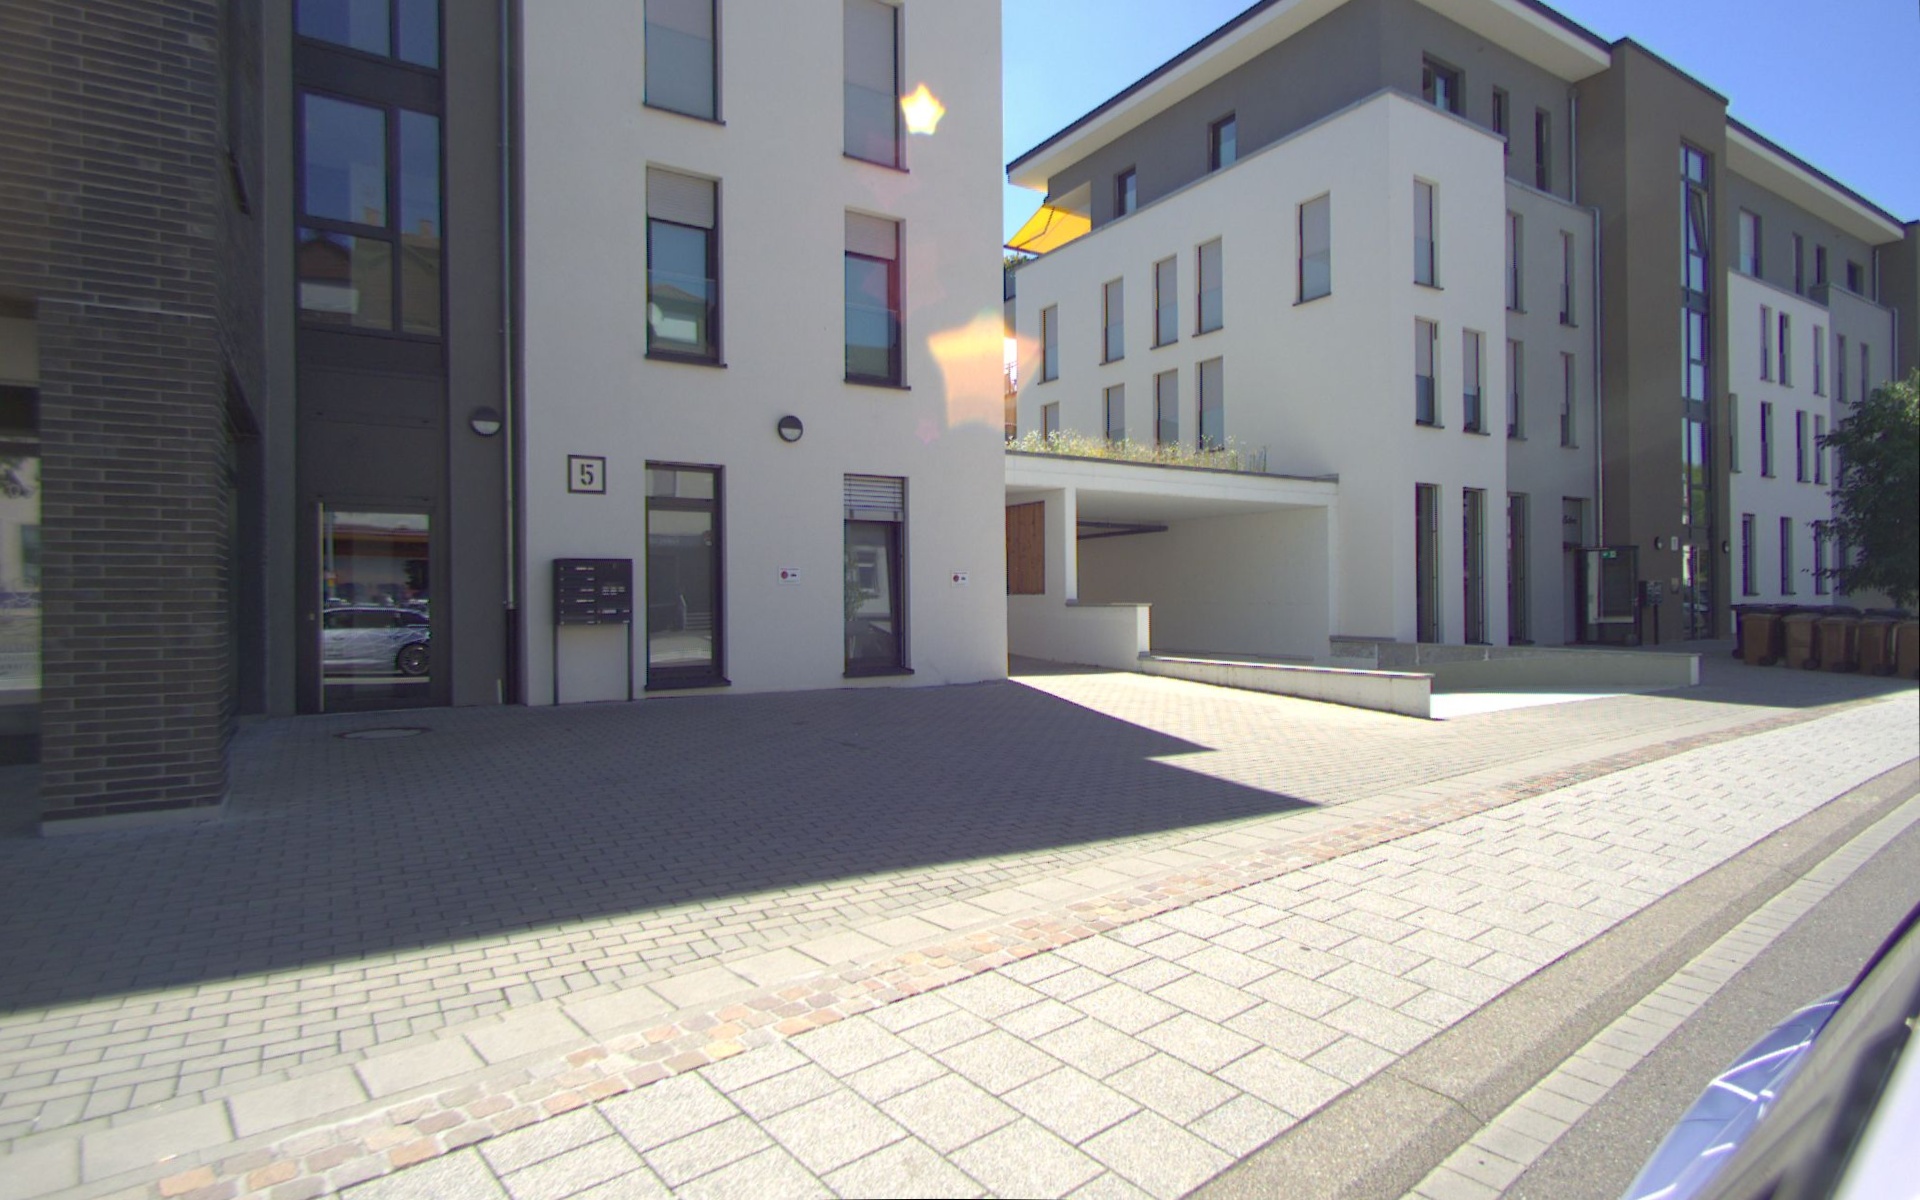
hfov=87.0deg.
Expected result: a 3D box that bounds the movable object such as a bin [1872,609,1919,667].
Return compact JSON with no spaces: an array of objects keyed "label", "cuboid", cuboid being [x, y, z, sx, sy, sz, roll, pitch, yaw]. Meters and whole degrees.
[{"label":"movable object such as a bin","cuboid":[15.961,0.646,17.261,0.512,0.942,0.467,-1,2,-32]}]

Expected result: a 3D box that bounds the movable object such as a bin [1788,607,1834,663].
[{"label":"movable object such as a bin","cuboid":[14.969,0.606,17.800,0.518,0.942,0.475,-1,2,-32]}]

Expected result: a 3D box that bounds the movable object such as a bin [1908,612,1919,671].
[{"label":"movable object such as a bin","cuboid":[15.839,0.679,16.469,0.518,0.942,0.475,-1,2,-32]}]

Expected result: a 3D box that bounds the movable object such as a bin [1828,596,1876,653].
[{"label":"movable object such as a bin","cuboid":[17.430,0.465,19.775,0.615,1.073,0.646,-1,2,-44]}]

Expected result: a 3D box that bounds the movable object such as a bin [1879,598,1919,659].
[{"label":"movable object such as a bin","cuboid":[17.487,0.521,18.712,0.549,1.073,0.571,0,2,-31]}]

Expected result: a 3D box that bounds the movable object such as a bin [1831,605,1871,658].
[{"label":"movable object such as a bin","cuboid":[16.592,0.576,18.847,0.480,0.935,0.432,2,2,35]}]

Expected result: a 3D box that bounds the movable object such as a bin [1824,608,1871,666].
[{"label":"movable object such as a bin","cuboid":[15.231,0.627,17.373,0.518,0.942,0.475,-1,2,-32]}]

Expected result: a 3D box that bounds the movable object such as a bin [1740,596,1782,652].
[{"label":"movable object such as a bin","cuboid":[15.573,0.458,19.686,0.569,1.054,0.551,2,2,44]}]

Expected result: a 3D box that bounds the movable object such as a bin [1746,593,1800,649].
[{"label":"movable object such as a bin","cuboid":[16.302,0.416,20.302,0.613,1.073,0.649,0,2,-31]}]

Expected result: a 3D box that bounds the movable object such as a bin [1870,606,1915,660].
[{"label":"movable object such as a bin","cuboid":[16.886,0.595,18.333,0.514,0.935,0.432,2,2,35]}]

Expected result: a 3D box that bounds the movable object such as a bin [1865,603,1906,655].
[{"label":"movable object such as a bin","cuboid":[17.754,0.550,19.416,0.459,0.942,0.485,-1,2,-38]}]

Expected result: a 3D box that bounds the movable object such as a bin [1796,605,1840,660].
[{"label":"movable object such as a bin","cuboid":[15.398,0.582,18.160,0.512,0.942,0.467,-1,2,-32]}]

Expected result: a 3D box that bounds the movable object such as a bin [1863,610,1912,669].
[{"label":"movable object such as a bin","cuboid":[15.514,0.653,16.928,0.518,0.942,0.475,-1,2,-32]}]

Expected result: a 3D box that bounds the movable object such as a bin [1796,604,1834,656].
[{"label":"movable object such as a bin","cuboid":[16.244,0.565,19.238,0.480,0.935,0.432,2,2,35]}]

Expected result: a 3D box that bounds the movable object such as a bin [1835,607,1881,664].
[{"label":"movable object such as a bin","cuboid":[15.700,0.612,17.692,0.512,0.942,0.467,-1,2,-32]}]

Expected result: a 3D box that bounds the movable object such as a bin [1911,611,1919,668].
[{"label":"movable object such as a bin","cuboid":[16.239,0.668,16.841,0.518,0.942,0.469,-1,2,-32]}]

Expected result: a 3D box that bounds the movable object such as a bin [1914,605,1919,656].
[{"label":"movable object such as a bin","cuboid":[18.082,0.579,18.752,0.457,0.942,0.513,-1,2,-38]}]

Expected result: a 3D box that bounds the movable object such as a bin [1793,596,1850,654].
[{"label":"movable object such as a bin","cuboid":[16.739,0.472,19.668,0.613,1.073,0.649,0,2,-31]}]

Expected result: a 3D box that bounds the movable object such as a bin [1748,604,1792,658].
[{"label":"movable object such as a bin","cuboid":[14.755,0.561,18.436,0.518,0.942,0.475,-1,2,-32]}]

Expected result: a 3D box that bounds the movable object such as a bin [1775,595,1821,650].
[{"label":"movable object such as a bin","cuboid":[16.991,0.444,20.519,0.615,1.073,0.646,-1,2,-44]}]
